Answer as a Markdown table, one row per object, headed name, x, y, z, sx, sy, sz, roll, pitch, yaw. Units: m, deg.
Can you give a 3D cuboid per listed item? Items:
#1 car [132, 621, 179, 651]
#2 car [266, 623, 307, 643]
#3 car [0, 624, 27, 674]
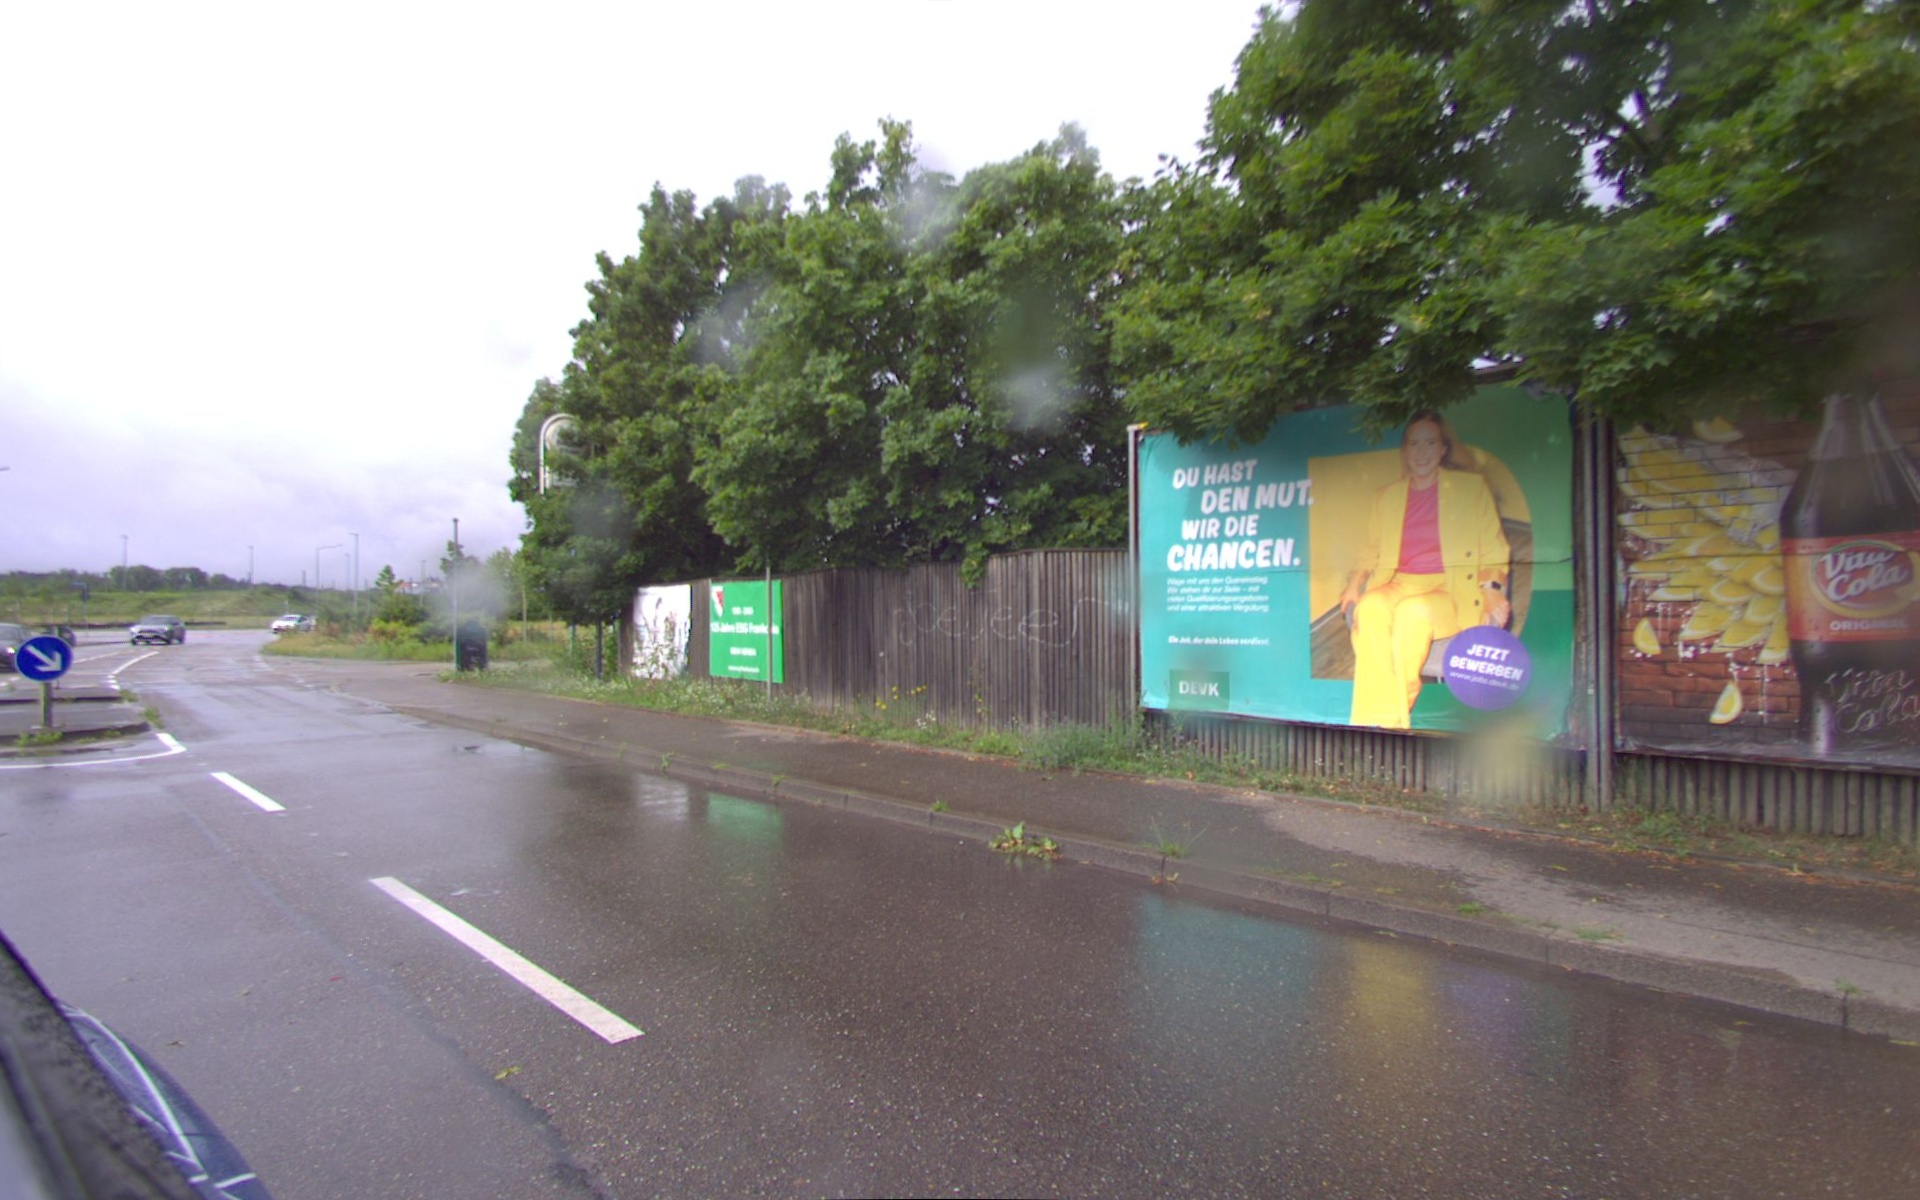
| name | x | y | z | sx | sy | sz | roll | pitch | yaw |
| --- | --- | --- | --- | --- | --- | --- | --- | --- | --- |
| car | -46.515 | 2.074 | 58.575 | 1.620 | 1.645 | 3.679 | 0 | -1 | -31 |
| car | -58.074 | 2.844 | 87.373 | 1.768 | 1.645 | 3.828 | 0 | -1 | -14 |
| car | -29.694 | 1.468 | 30.797 | 1.697 | 1.442 | 3.825 | 0 | -1 | -39 |
